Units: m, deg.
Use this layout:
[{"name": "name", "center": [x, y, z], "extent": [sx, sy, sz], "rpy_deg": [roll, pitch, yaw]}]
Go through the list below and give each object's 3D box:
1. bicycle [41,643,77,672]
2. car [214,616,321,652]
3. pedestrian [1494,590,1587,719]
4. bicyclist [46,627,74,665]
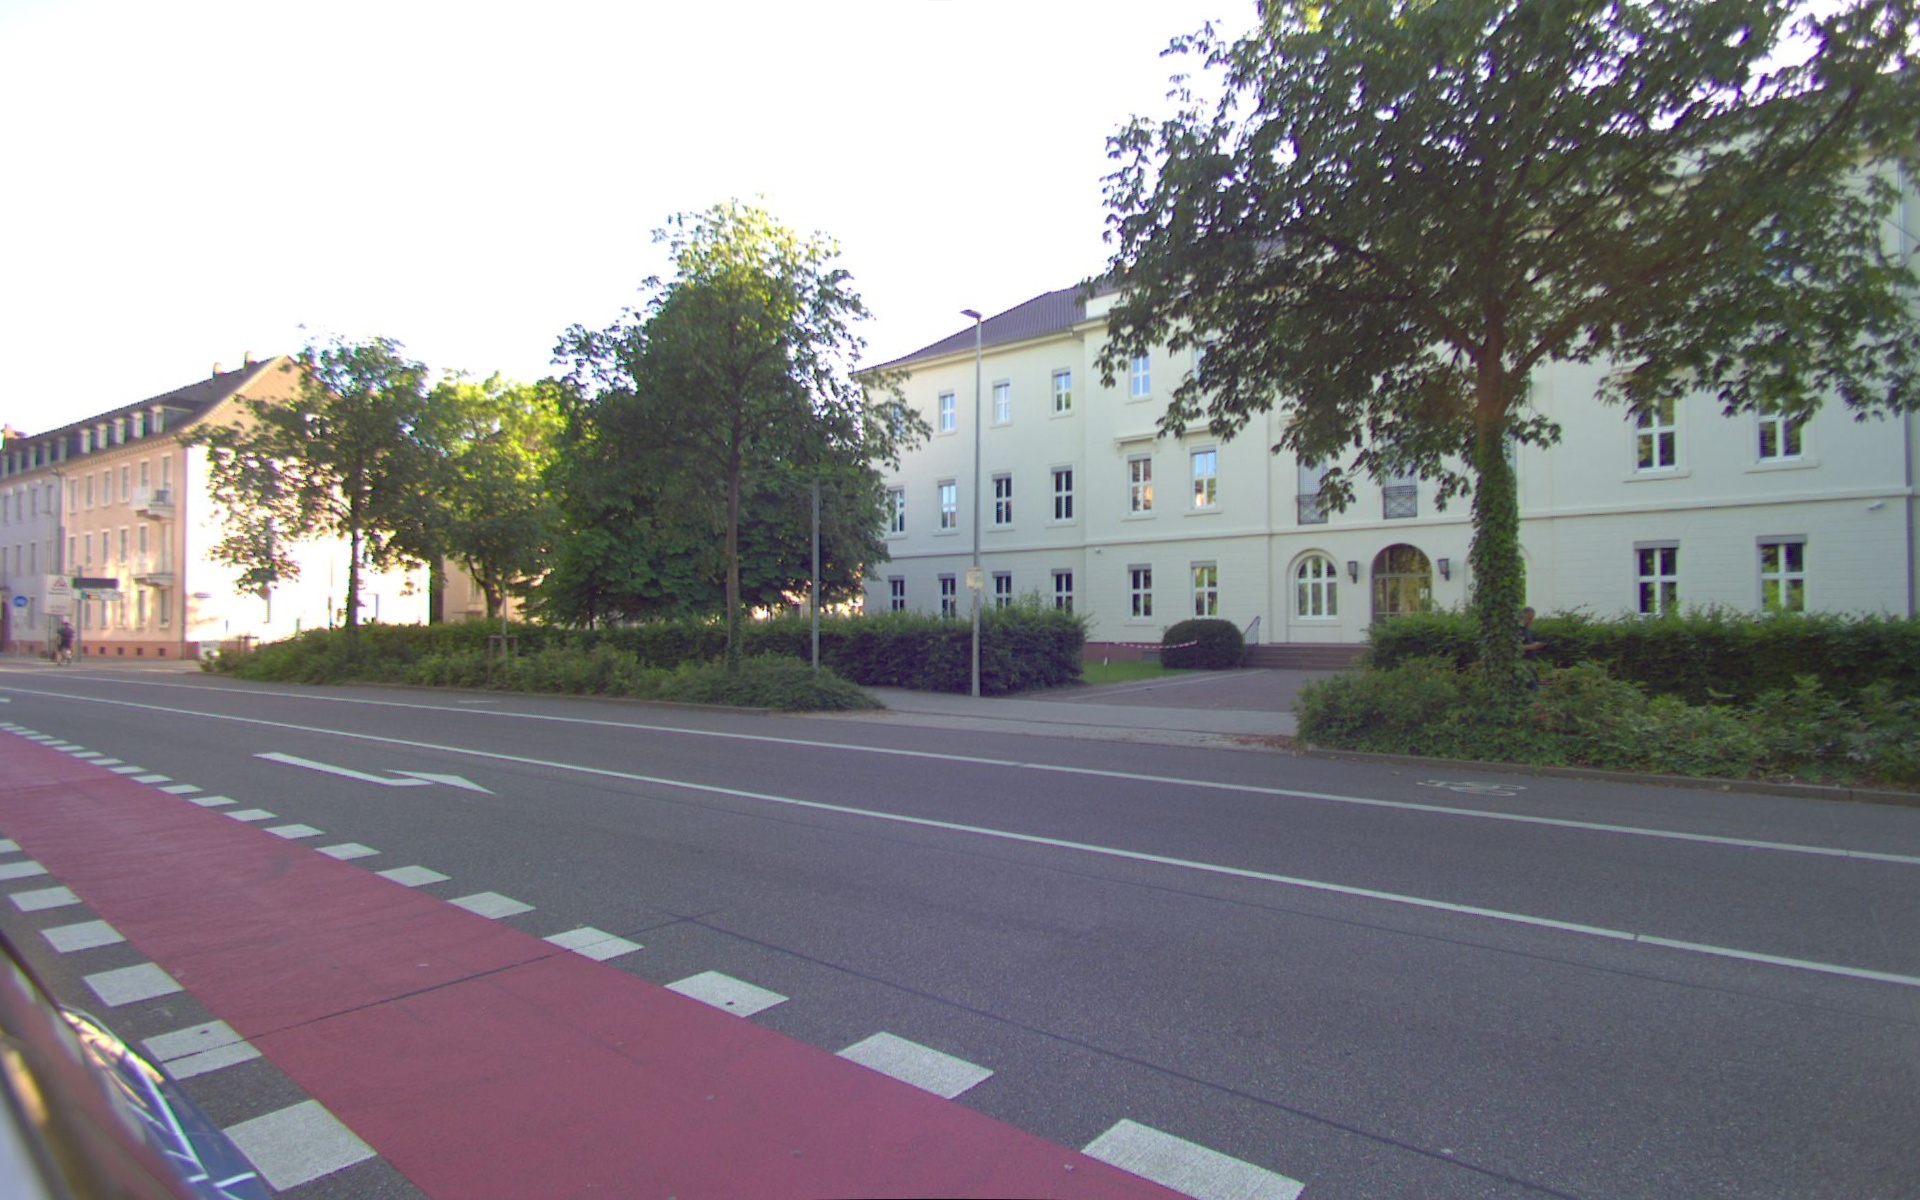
[{"name": "bicycle", "center": [-37.707, 2.394, 42.356], "extent": [2.242, 1.168, 0.688], "rpy_deg": [-2, -4, 38]}, {"name": "car", "center": [-34.621, 1.682, 50.681], "extent": [1.993, 1.674, 3.958], "rpy_deg": [-1, -1, 31]}, {"name": "pedestrian", "center": [8.177, 0.758, 14.254], "extent": [0.967, 1.733, 0.826], "rpy_deg": [-2, -3, 41]}, {"name": "bicyclist", "center": [-37.683, 1.922, 42.364], "extent": [0.837, 1.574, 0.683], "rpy_deg": [-2, -4, 37]}]
